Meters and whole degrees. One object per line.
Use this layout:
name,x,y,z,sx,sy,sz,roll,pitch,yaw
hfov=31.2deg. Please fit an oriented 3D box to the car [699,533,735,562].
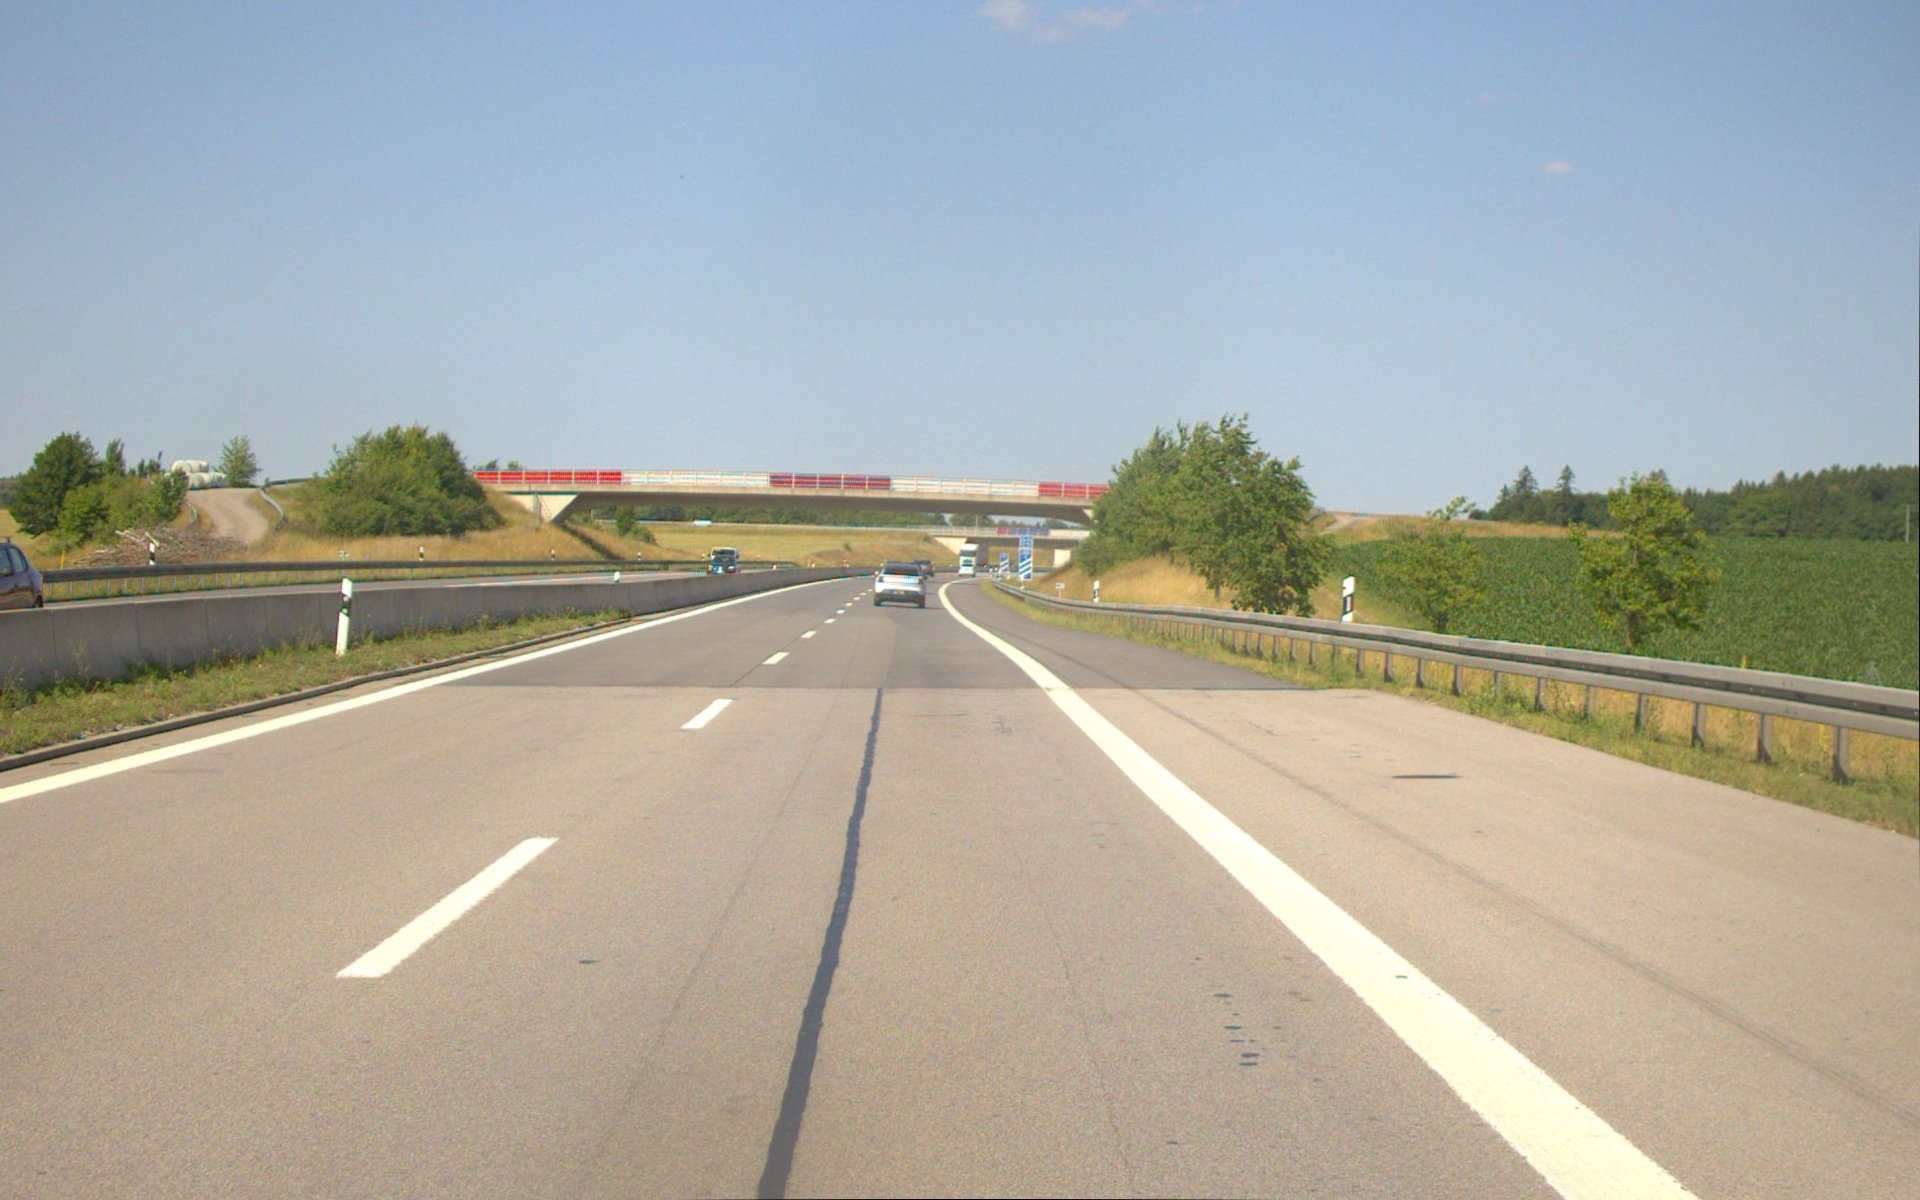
car,-15.601,-3.367,221.019,1.907,1.680,5.007,4,1,-1

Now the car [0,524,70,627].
car,-15.111,-0.364,52.333,1.898,1.518,4.806,-1,1,-1

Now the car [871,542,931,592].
car,-2.151,-1.203,124.332,1.993,1.725,4.870,2,1,-3
